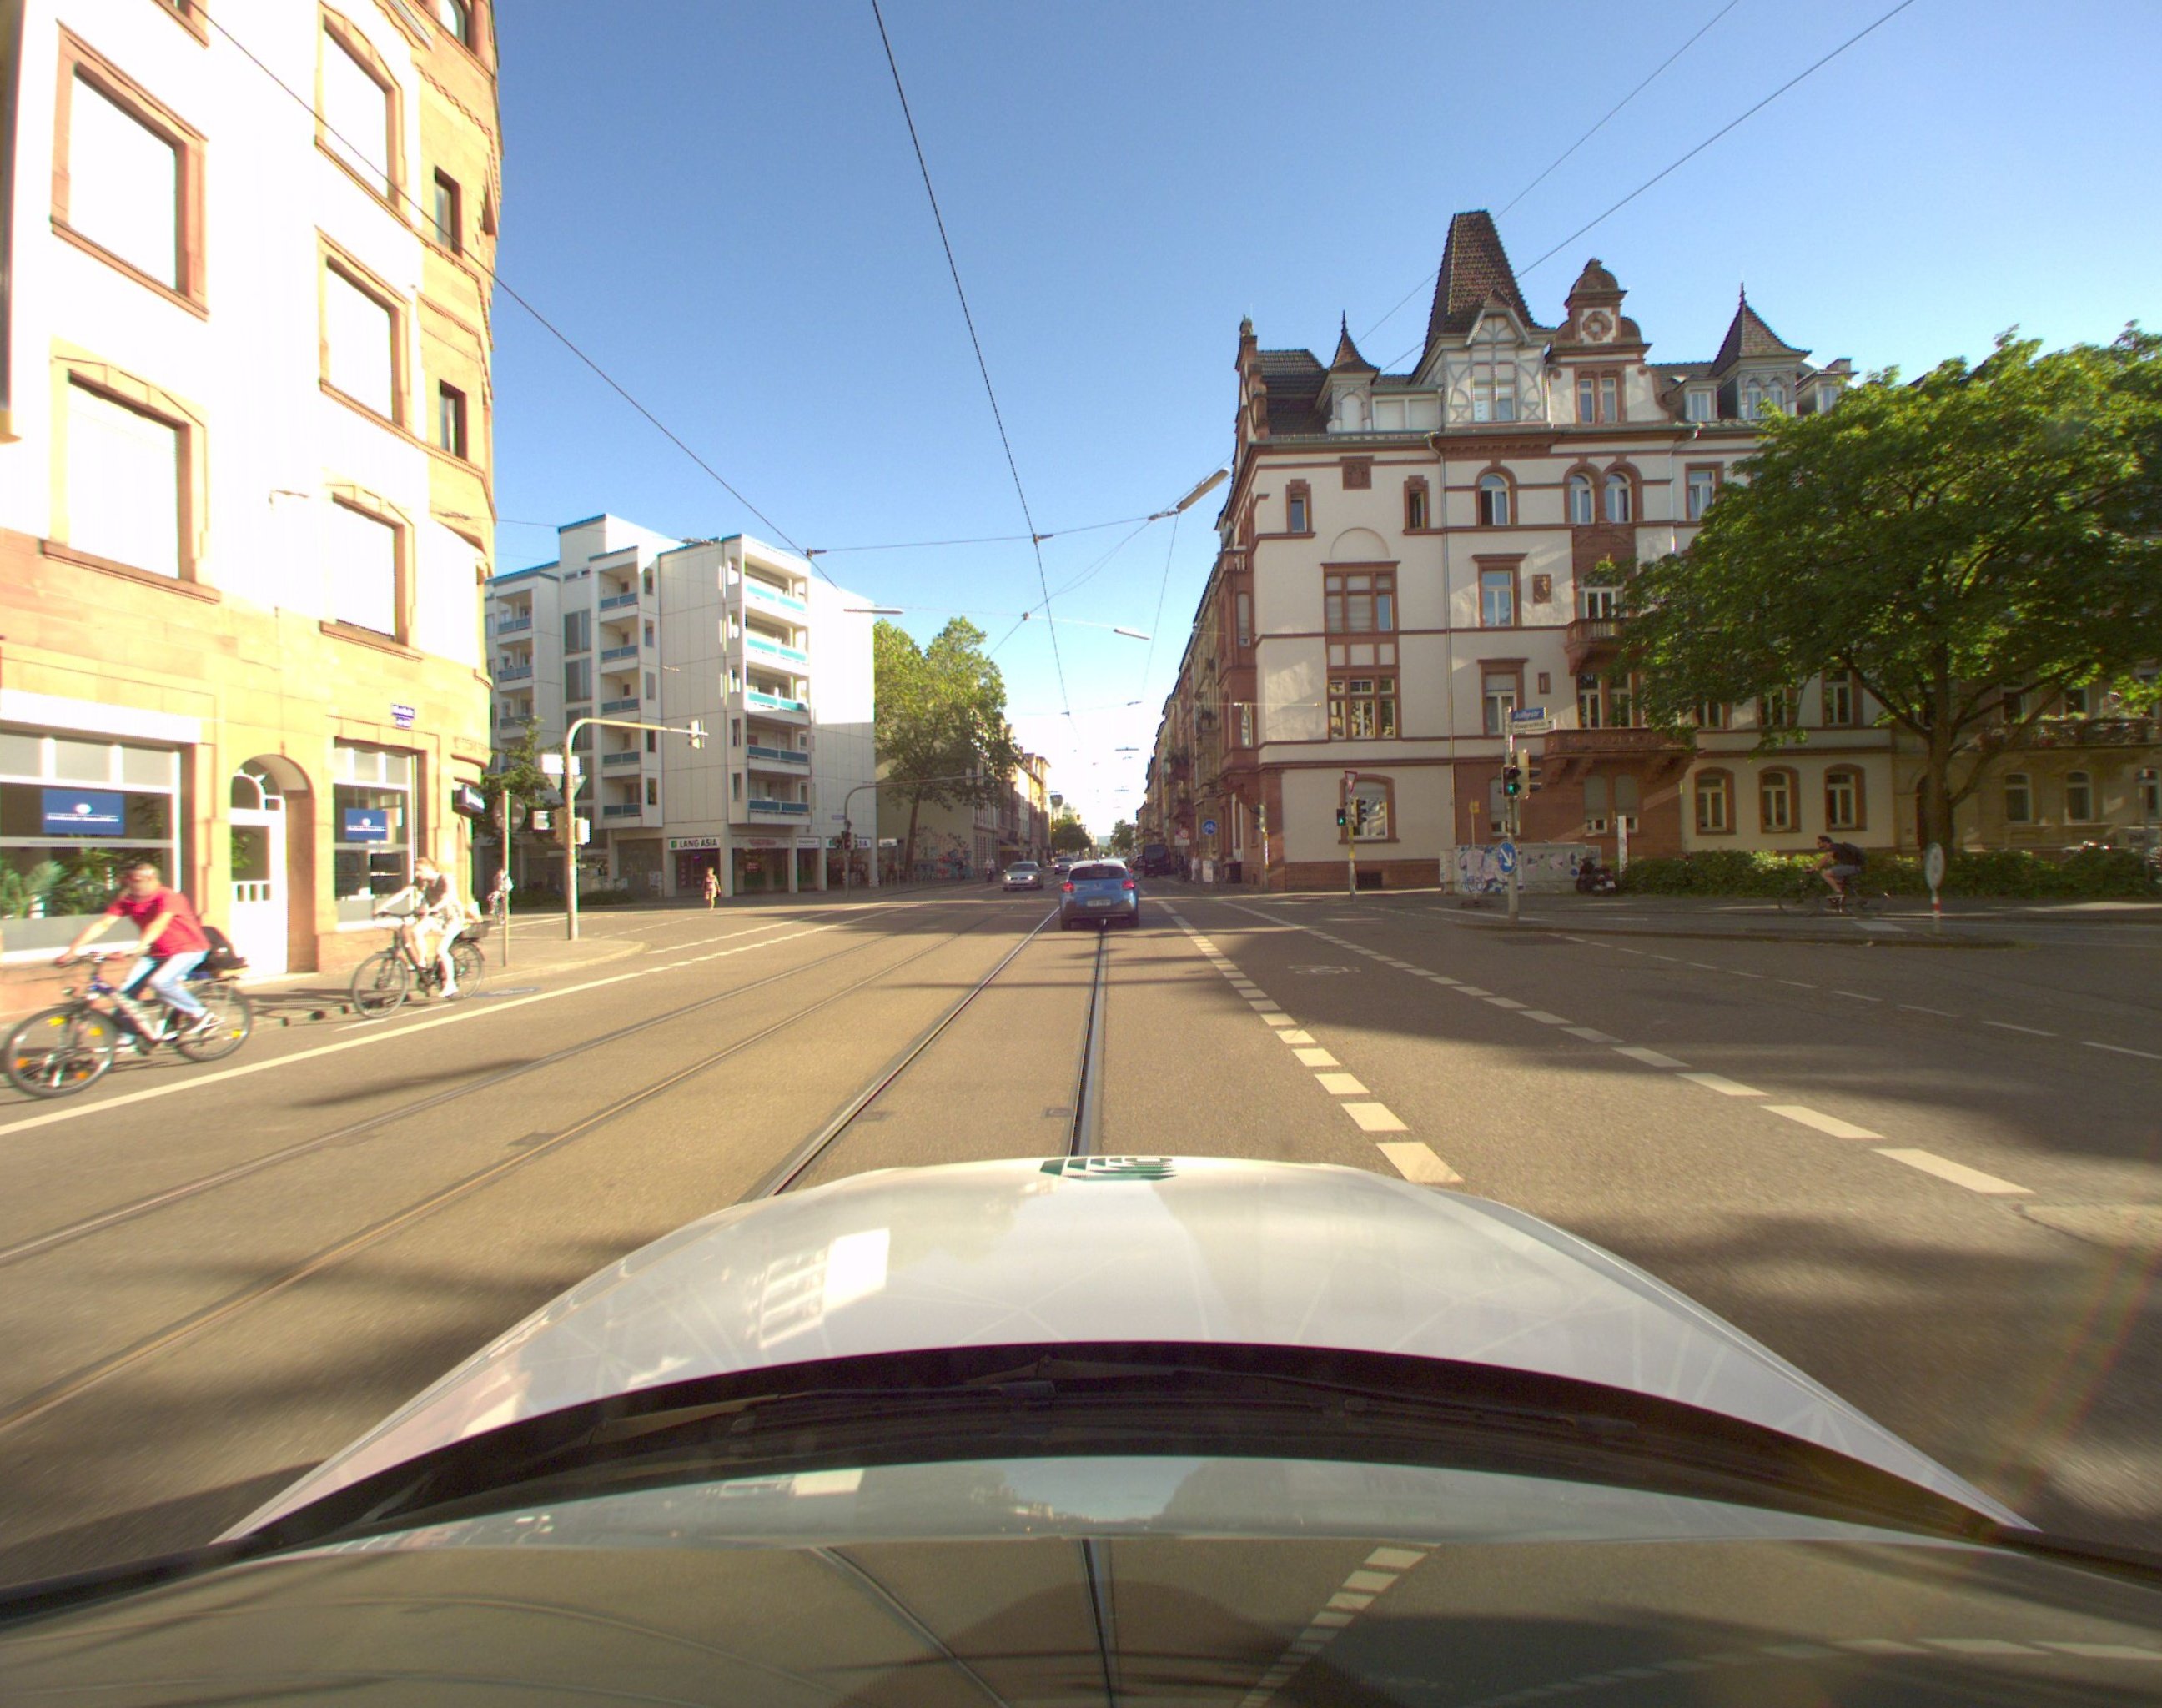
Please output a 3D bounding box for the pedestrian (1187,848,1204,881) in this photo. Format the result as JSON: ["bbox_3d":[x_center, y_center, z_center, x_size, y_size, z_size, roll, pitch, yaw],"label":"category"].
[{"bbox_3d":[5.889,0.533,41.927,0.626,1.701,0.681,-1,0,-7],"label":"pedestrian"}]

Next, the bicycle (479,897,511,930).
[{"bbox_3d":[-18.868,1.896,26.210,0.795,0.909,1.793,-1,0,-37],"label":"bicycle"}]

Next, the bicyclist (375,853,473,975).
[{"bbox_3d":[-7.751,0.687,9.633,0.588,1.376,0.679,-1,-1,0],"label":"bicyclist"}]

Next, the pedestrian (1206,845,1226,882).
[{"bbox_3d":[6.742,0.486,40.761,0.703,1.782,0.673,-6,-1,0],"label":"pedestrian"}]

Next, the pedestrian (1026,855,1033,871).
[{"bbox_3d":[-5.670,0.961,90.198,0.709,1.764,0.653,-2,0,-7],"label":"pedestrian"}]

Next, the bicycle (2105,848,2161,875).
[{"bbox_3d":[36.051,0.232,27.254,1.008,0.872,2.165,-2,0,7],"label":"bicycle"}]

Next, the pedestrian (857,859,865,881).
[{"bbox_3d":[-17.444,1.282,64.596,0.454,1.718,0.547,-2,0,1],"label":"pedestrian"}]

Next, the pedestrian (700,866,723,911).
[{"bbox_3d":[-13.074,1.216,28.839,0.541,1.552,0.516,-1,-1,0],"label":"pedestrian"}]

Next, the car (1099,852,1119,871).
[{"bbox_3d":[3.049,0.789,88.601,1.987,2.013,4.000,-2,0,1],"label":"car"}]

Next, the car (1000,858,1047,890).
[{"bbox_3d":[-2.854,0.963,41.554,1.978,1.502,4.309,-2,0,1],"label":"car"}]

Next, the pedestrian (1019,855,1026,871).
[{"bbox_3d":[-6.466,0.981,89.914,0.708,1.764,0.570,-2,0,0],"label":"pedestrian"}]

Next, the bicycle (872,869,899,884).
[{"bbox_3d":[-14.065,1.622,58.497,1.898,1.034,0.669,-2,0,28],"label":"bicycle"}]

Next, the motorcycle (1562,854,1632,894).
[{"bbox_3d":[15.551,0.585,24.620,0.609,1.125,2.391,-2,0,1],"label":"motorcycle"}]

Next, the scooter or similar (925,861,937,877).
[{"bbox_3d":[-12.137,1.215,65.755,0.937,1.222,0.765,-1,0,-11],"label":"scooter or similar"}]

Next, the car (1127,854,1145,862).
[{"bbox_3d":[12.284,0.960,182.765,3.824,1.618,1.791,-2,0,-1],"label":"car"}]

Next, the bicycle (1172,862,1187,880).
[{"bbox_3d":[5.498,0.951,45.525,0.430,0.947,1.760,-1,0,-5],"label":"bicycle"}]

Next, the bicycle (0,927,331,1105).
[{"bbox_3d":[-7.571,1.239,6.773,0.728,1.065,2.061,-1,0,0],"label":"bicycle"}]

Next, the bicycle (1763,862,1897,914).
[{"bbox_3d":[16.325,0.736,17.828,2.070,1.044,0.853,-2,0,38],"label":"bicycle"}]

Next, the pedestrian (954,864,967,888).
[{"bbox_3d":[-9.368,1.712,63.400,0.678,1.765,1.029,-1,-1,12],"label":"pedestrian"}]

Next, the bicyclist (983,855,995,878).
[{"bbox_3d":[-6.171,0.829,54.602,0.680,1.483,0.778,-2,0,1],"label":"bicyclist"}]

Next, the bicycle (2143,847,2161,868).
[{"bbox_3d":[37.188,0.163,27.090,1.008,0.650,2.166,-2,4,7],"label":"bicycle"}]

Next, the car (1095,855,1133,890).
[{"bbox_3d":[1.511,0.834,38.259,1.661,1.478,4.000,-2,0,1],"label":"car"}]

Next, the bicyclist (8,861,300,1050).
[{"bbox_3d":[-7.586,0.758,6.779,0.733,1.381,1.468,-1,0,0],"label":"bicyclist"}]

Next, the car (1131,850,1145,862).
[{"bbox_3d":[8.185,0.323,117.291,1.997,1.672,4.394,-2,0,3],"label":"car"}]

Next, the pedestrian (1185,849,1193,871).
[{"bbox_3d":[8.620,0.465,65.137,0.551,1.782,0.606,2,-1,0],"label":"pedestrian"}]

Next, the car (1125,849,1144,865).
[{"bbox_3d":[6.100,0.312,93.366,1.998,1.672,4.807,-2,0,2],"label":"car"}]

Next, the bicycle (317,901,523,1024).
[{"bbox_3d":[-7.707,1.209,9.659,0.728,1.183,2.061,-1,0,0],"label":"bicycle"}]

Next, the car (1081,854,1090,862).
[{"bbox_3d":[1.040,0.943,195.813,1.987,1.651,4.000,-2,0,1],"label":"car"}]

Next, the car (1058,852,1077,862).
[{"bbox_3d":[-3.374,0.734,206.690,4.328,2.581,2.192,-1,0,-24],"label":"car"}]

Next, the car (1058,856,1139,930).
[{"bbox_3d":[0.382,0.819,19.005,1.668,1.477,4.000,-2,0,0],"label":"car"}]

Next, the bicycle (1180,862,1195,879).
[{"bbox_3d":[5.973,0.907,45.577,0.430,0.947,1.760,-1,0,-5],"label":"bicycle"}]

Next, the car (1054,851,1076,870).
[{"bbox_3d":[-1.567,0.626,79.793,1.987,1.744,4.563,-1,0,1],"label":"car"}]

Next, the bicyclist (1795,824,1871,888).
[{"bbox_3d":[16.378,0.049,17.775,1.120,1.343,0.843,-2,0,38],"label":"bicyclist"}]

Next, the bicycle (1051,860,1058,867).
[{"bbox_3d":[-5.158,1.763,157.869,1.118,1.319,3.639,-2,0,-4],"label":"bicycle"}]

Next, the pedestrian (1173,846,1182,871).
[{"bbox_3d":[7.920,0.363,66.949,0.583,2.013,0.823,-2,0,0],"label":"pedestrian"}]

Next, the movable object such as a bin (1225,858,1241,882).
[{"bbox_3d":[7.453,0.773,39.936,0.663,1.153,0.594,-2,0,0],"label":"movable object such as a bin"}]

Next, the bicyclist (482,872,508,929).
[{"bbox_3d":[-18.850,1.485,26.179,0.619,1.764,0.963,-1,-1,-38],"label":"bicyclist"}]

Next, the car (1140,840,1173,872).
[{"bbox_3d":[6.066,0.148,65.951,2.263,2.437,5.722,-1,0,2],"label":"car"}]

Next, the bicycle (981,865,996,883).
[{"bbox_3d":[-6.164,1.339,54.590,0.690,1.120,2.084,-2,0,1],"label":"bicycle"}]

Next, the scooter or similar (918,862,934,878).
[{"bbox_3d":[-12.315,1.269,64.872,1.228,1.258,0.765,-1,0,-11],"label":"scooter or similar"}]

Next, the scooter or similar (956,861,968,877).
[{"bbox_3d":[-9.634,1.230,66.079,0.785,1.271,1.075,1,1,1],"label":"scooter or similar"}]
